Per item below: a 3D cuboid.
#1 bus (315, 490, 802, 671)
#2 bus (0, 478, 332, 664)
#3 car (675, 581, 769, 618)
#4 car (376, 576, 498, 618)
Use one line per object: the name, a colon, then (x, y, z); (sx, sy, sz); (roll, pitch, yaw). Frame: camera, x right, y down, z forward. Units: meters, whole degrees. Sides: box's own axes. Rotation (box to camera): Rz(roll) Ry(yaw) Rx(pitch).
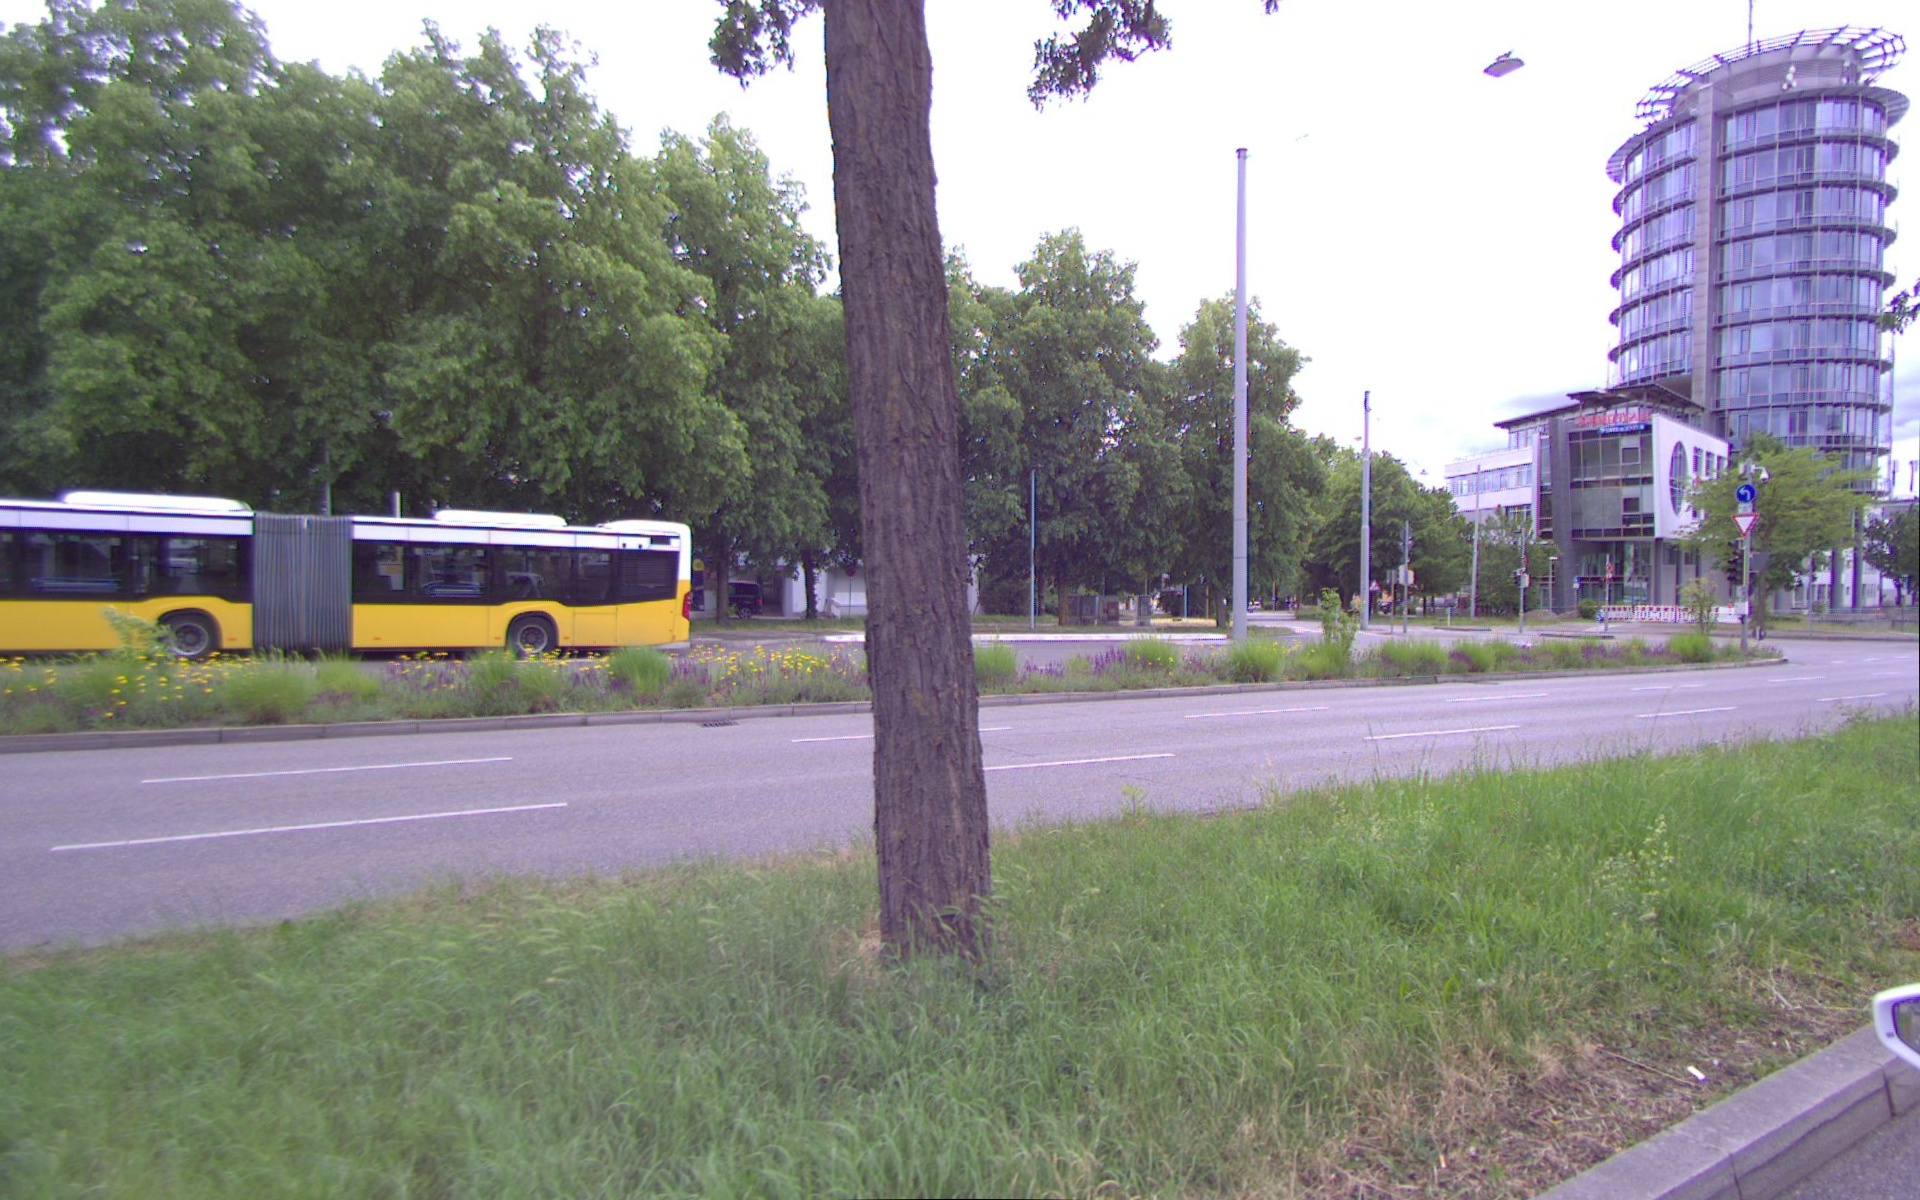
bus: (-8.809, -0.387, 23.048); (9.782, 3.502, 3.020); (1, 2, -27)
bus: (-17.884, -0.507, 18.316); (10.599, 3.205, 3.072); (1, 0, -27)
car: (-12.567, -0.019, 53.042); (4.737, 1.857, 1.993); (0, 0, -16)
car: (-20.665, -0.116, 39.891); (4.192, 1.602, 1.986); (0, 0, -27)
